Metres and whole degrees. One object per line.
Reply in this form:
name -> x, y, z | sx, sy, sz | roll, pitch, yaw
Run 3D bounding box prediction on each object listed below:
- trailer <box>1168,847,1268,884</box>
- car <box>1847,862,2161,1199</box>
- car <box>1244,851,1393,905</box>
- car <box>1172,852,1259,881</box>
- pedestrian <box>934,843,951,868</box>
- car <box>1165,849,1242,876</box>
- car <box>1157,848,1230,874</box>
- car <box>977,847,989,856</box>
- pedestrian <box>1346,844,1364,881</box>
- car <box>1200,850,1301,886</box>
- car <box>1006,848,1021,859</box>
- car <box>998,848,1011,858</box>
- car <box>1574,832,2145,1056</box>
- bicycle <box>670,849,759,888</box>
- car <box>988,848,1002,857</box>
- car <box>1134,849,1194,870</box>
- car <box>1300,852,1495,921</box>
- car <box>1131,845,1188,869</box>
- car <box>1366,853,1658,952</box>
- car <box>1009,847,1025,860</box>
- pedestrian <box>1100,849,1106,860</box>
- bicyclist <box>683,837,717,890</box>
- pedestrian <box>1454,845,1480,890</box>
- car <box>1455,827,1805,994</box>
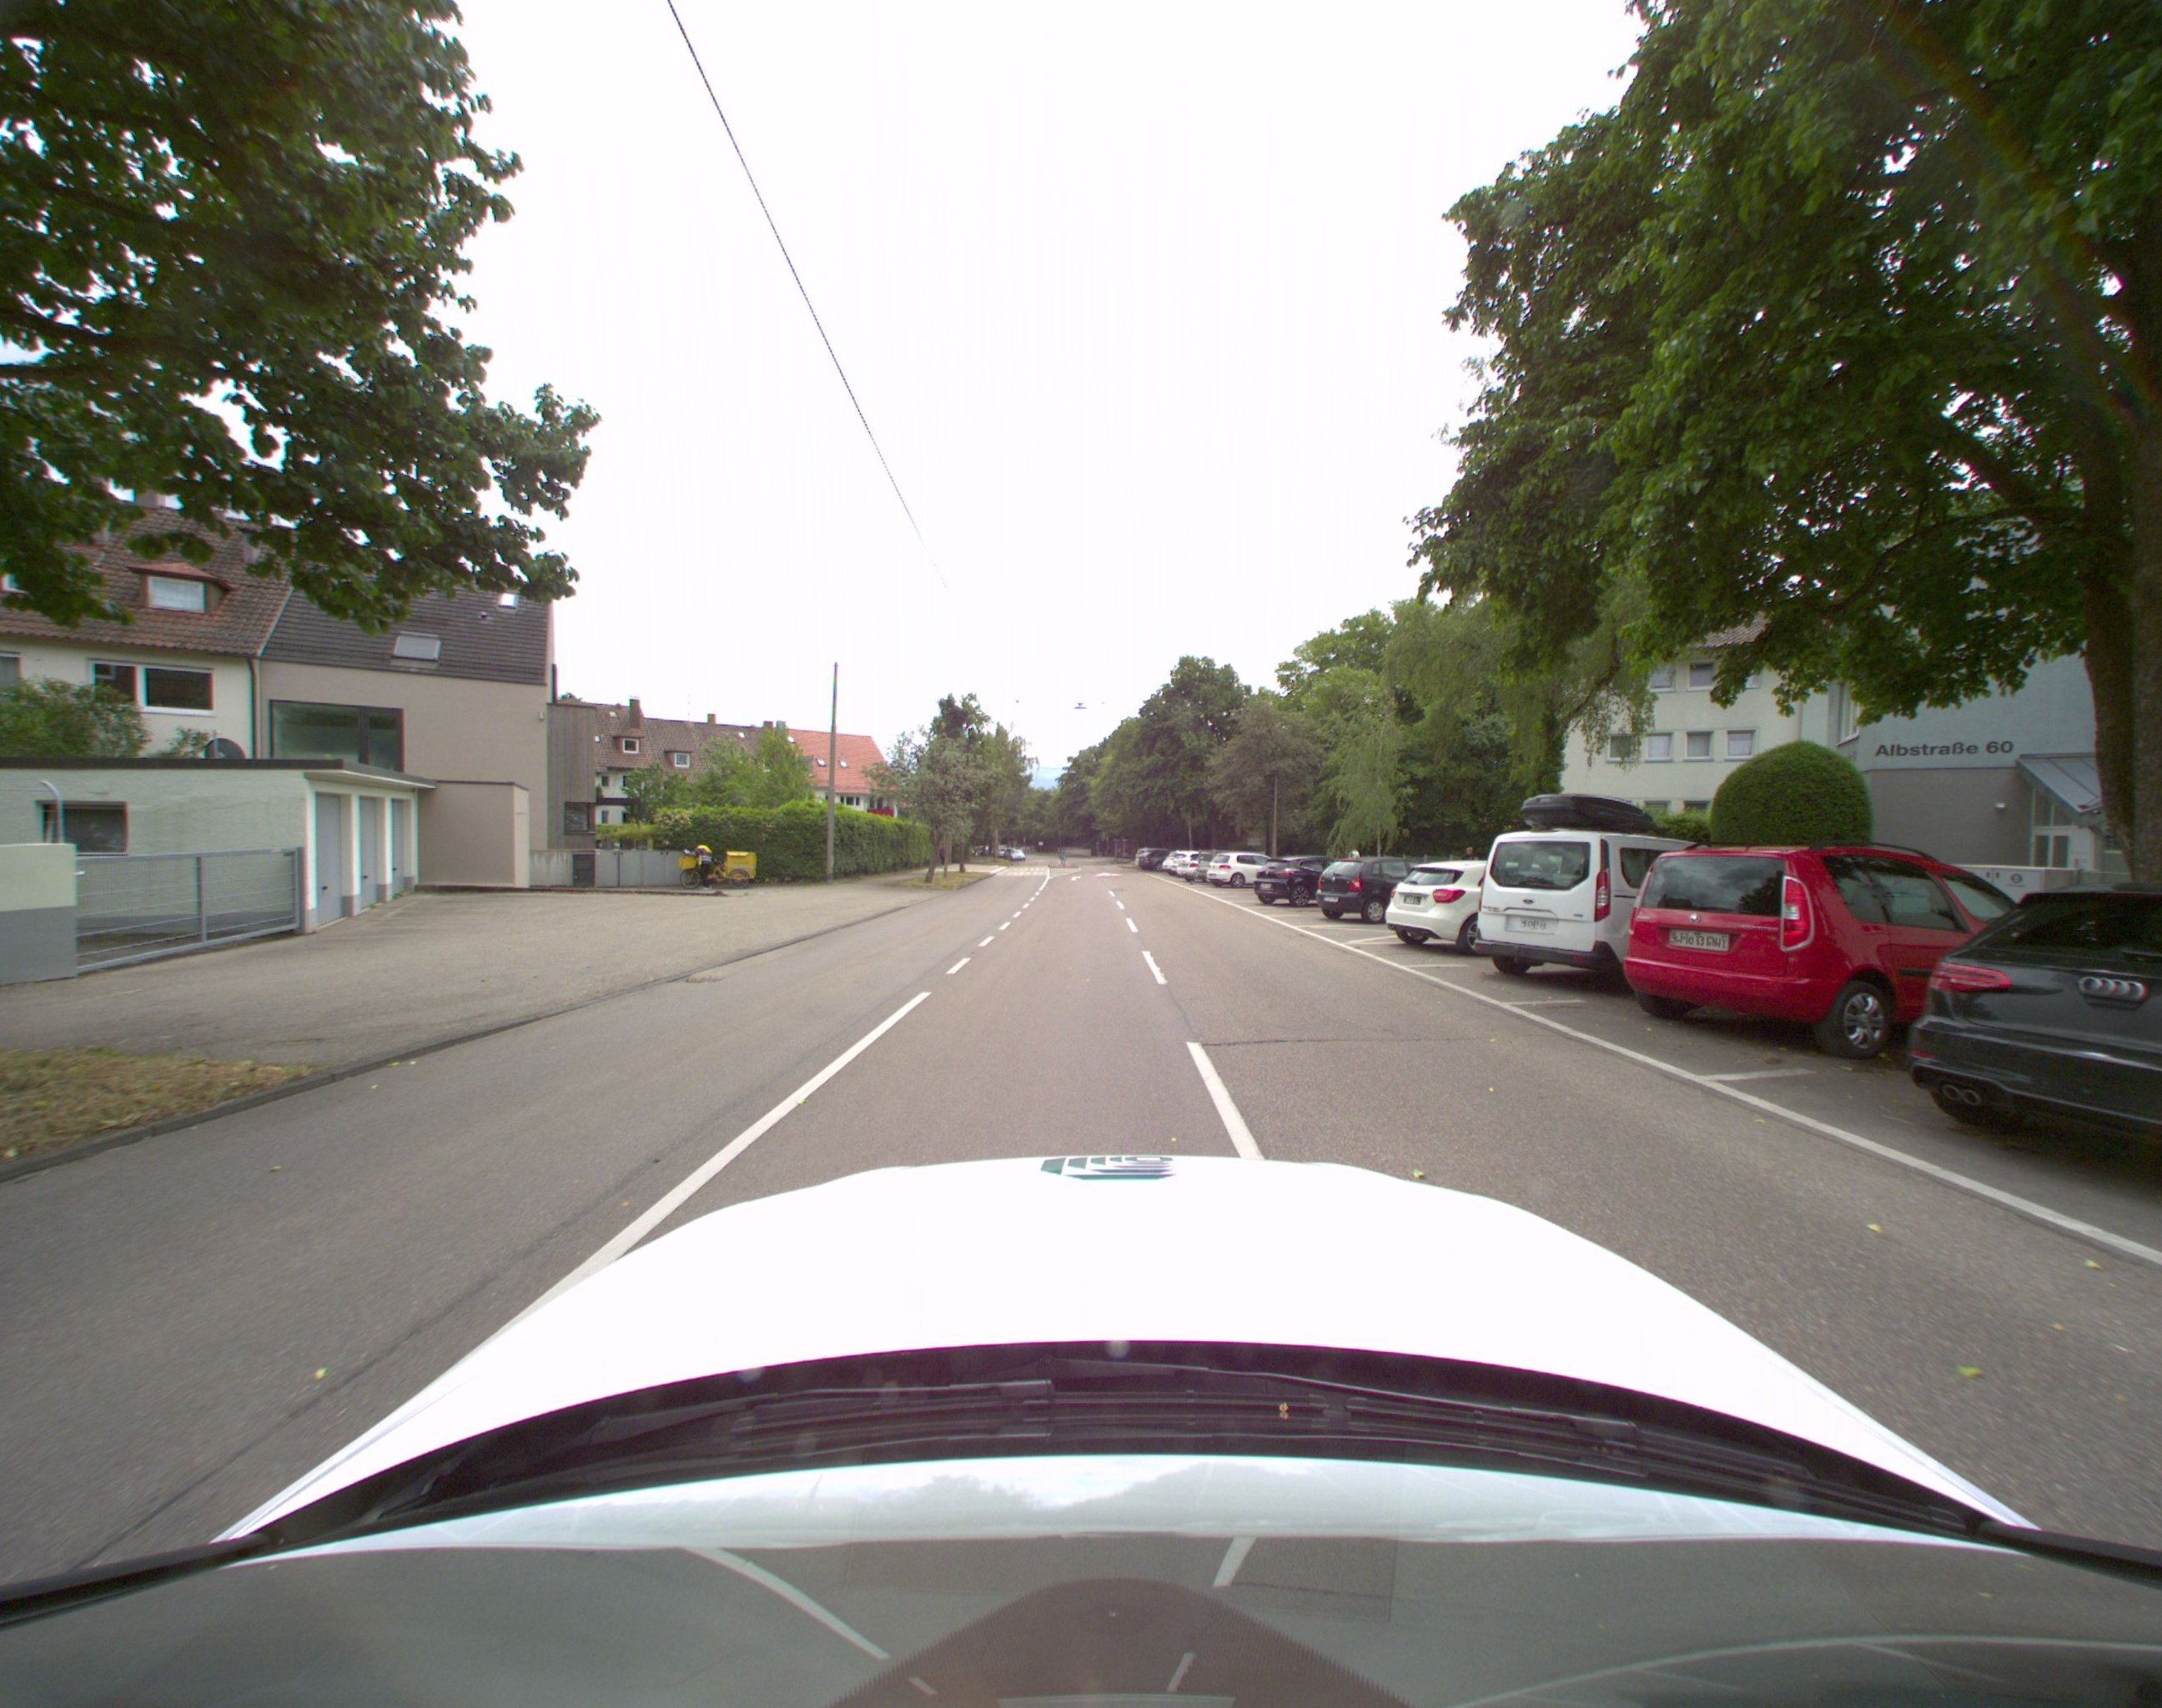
trailer -> 6.230, 0.510, 37.105 | 4.165, 1.573, 1.702 | 2, 0, -18
car -> 6.481, 0.815, 4.301 | 4.036, 1.405, 1.747 | 2, 0, -17
car -> 6.926, 0.672, 23.769 | 3.900, 1.449, 1.831 | 1, 0, -22
car -> 6.570, 0.607, 39.788 | 3.901, 1.309, 1.731 | 1, 0, -23
pedestrian -> -9.530, 0.096, 56.064 | 0.972, 1.730, 0.848 | 0, 0, -2
car -> 6.842, 0.460, 45.572 | 3.895, 1.429, 1.733 | 1, 0, -18
car -> 6.631, 0.404, 48.153 | 3.895, 1.429, 1.733 | 1, 0, -18
car -> -16.668, -0.466, 138.473 | 1.868, 1.471, 3.985 | 0, 0, -11
pedestrian -> 12.788, 0.391, 38.026 | 0.646, 1.671, 0.745 | 0, 0, 7
car -> 7.259, 0.617, 34.909 | 3.897, 1.449, 1.732 | 1, 0, -20
car -> -8.786, -0.076, 106.023 | 1.864, 1.471, 3.993 | 0, 0, -5
car -> -11.113, -0.166, 117.890 | 1.864, 1.471, 3.993 | 0, 0, -5
car -> 6.844, 0.689, 7.308 | 4.003, 1.620, 1.875 | 2, 0, -15
bicycle -> -12.352, 0.488, 27.518 | 2.651, 1.266, 0.842 | 1, 1, -19
car -> -13.700, -0.273, 128.896 | 1.868, 1.471, 3.985 | 0, 0, -11
car -> 5.934, 0.372, 58.128 | 3.895, 1.429, 1.733 | 1, 0, -18
car -> 7.264, 0.738, 18.760 | 3.895, 1.449, 1.833 | 2, 0, -18
car -> 5.842, 0.206, 60.961 | 3.895, 1.668, 1.733 | 1, 0, -18
car -> 7.014, 0.769, 13.403 | 3.971, 1.449, 1.909 | 2, 0, -14
car -> -7.892, -0.080, 100.426 | 1.864, 1.471, 3.993 | 0, 0, -5
pedestrian -> 3.065, 0.051, 115.904 | 0.736, 1.570, 0.654 | 0, 0, 12
bicyclist -> -12.697, 0.305, 27.159 | 0.709, 1.697, 0.847 | 1, 1, -1
pedestrian -> 13.946, 0.462, 29.443 | 0.646, 1.603, 0.745 | 0, 0, 7
car -> 6.909, 0.620, 10.231 | 4.106, 1.754, 1.772 | 2, 0, -25
